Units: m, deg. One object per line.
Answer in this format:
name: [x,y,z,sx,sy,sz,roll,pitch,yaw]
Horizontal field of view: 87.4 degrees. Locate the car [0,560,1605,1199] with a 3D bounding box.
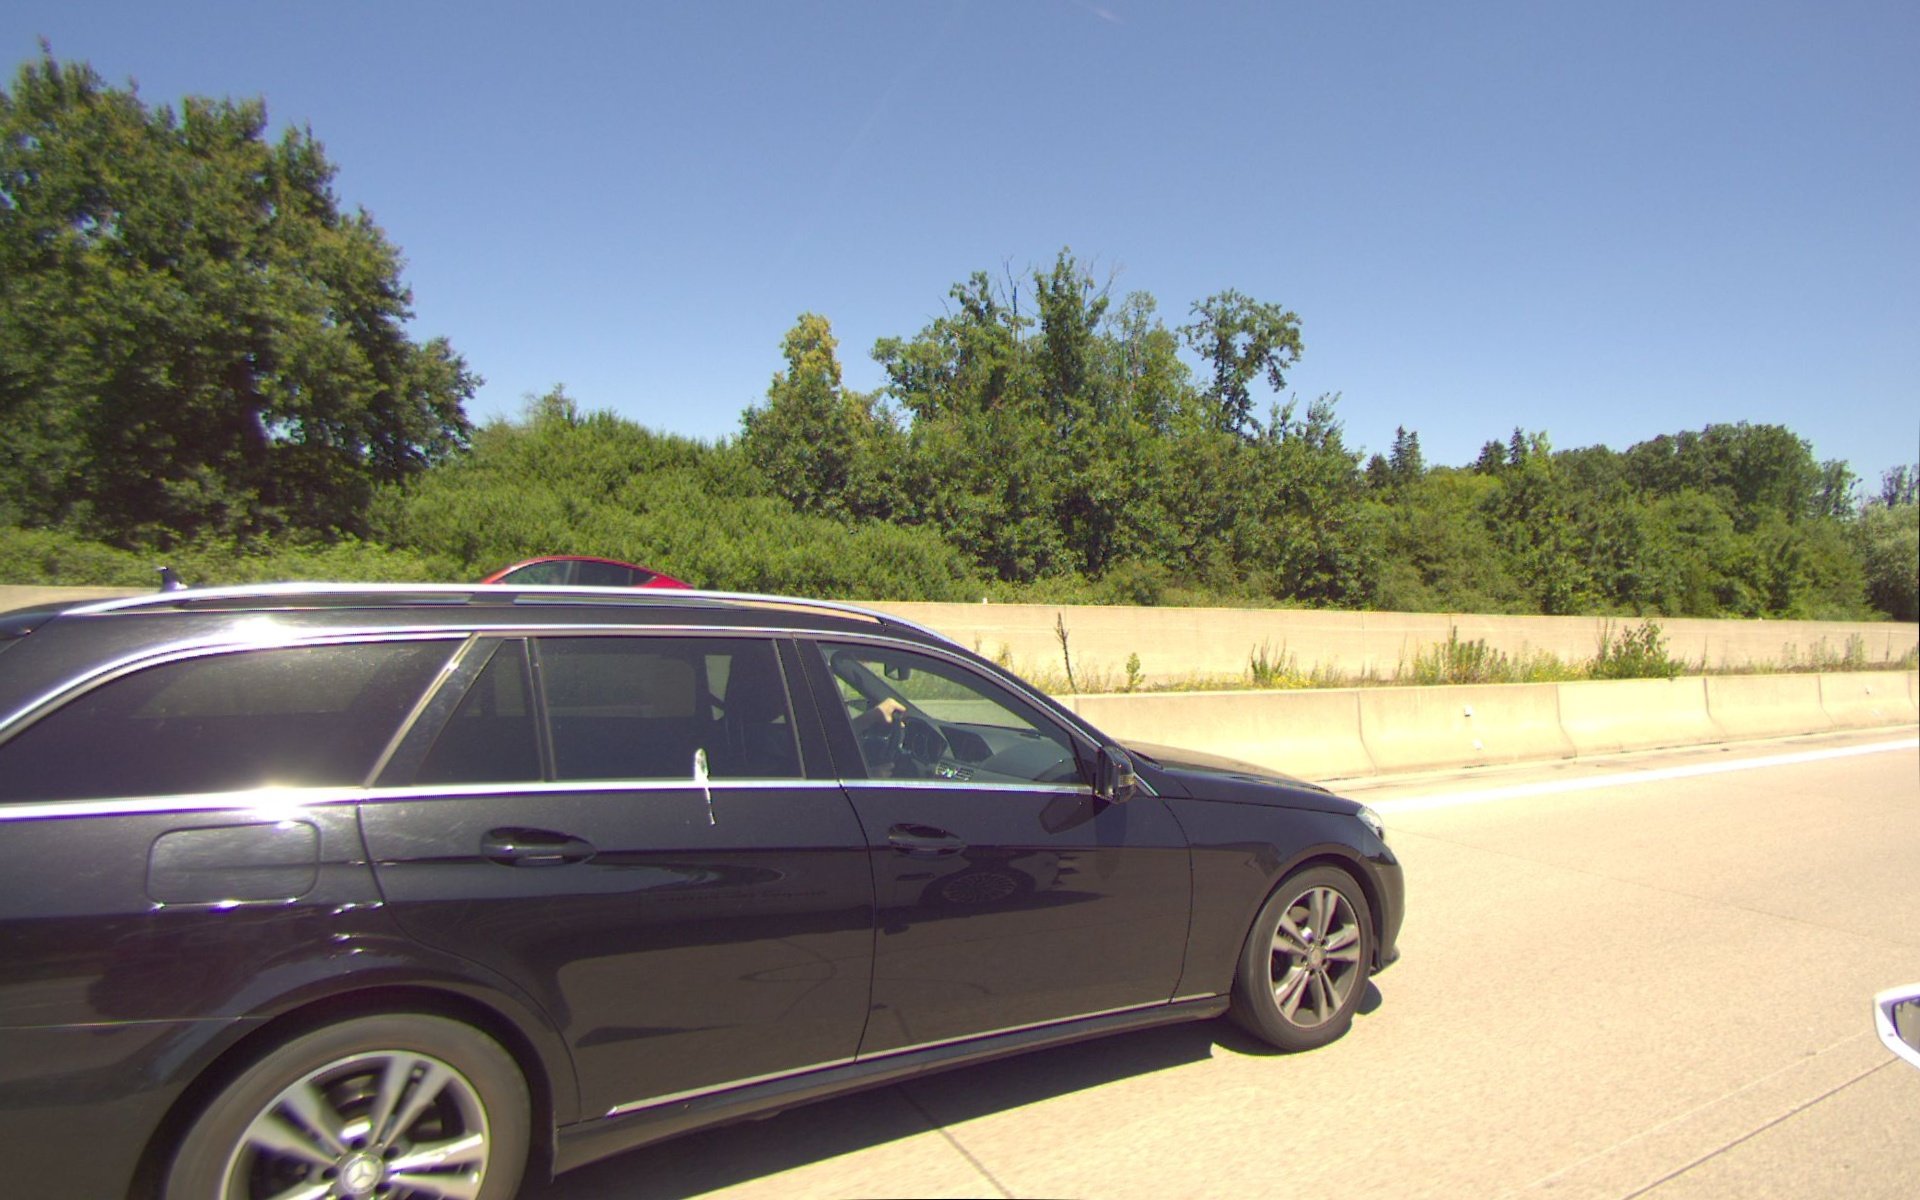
car: [-0.216,0.676,3.583,5.536,1.493,1.882,0,2,-30]

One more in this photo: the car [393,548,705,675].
car: [-6.204,0.186,15.269,4.170,1.692,1.790,1,0,-31]
